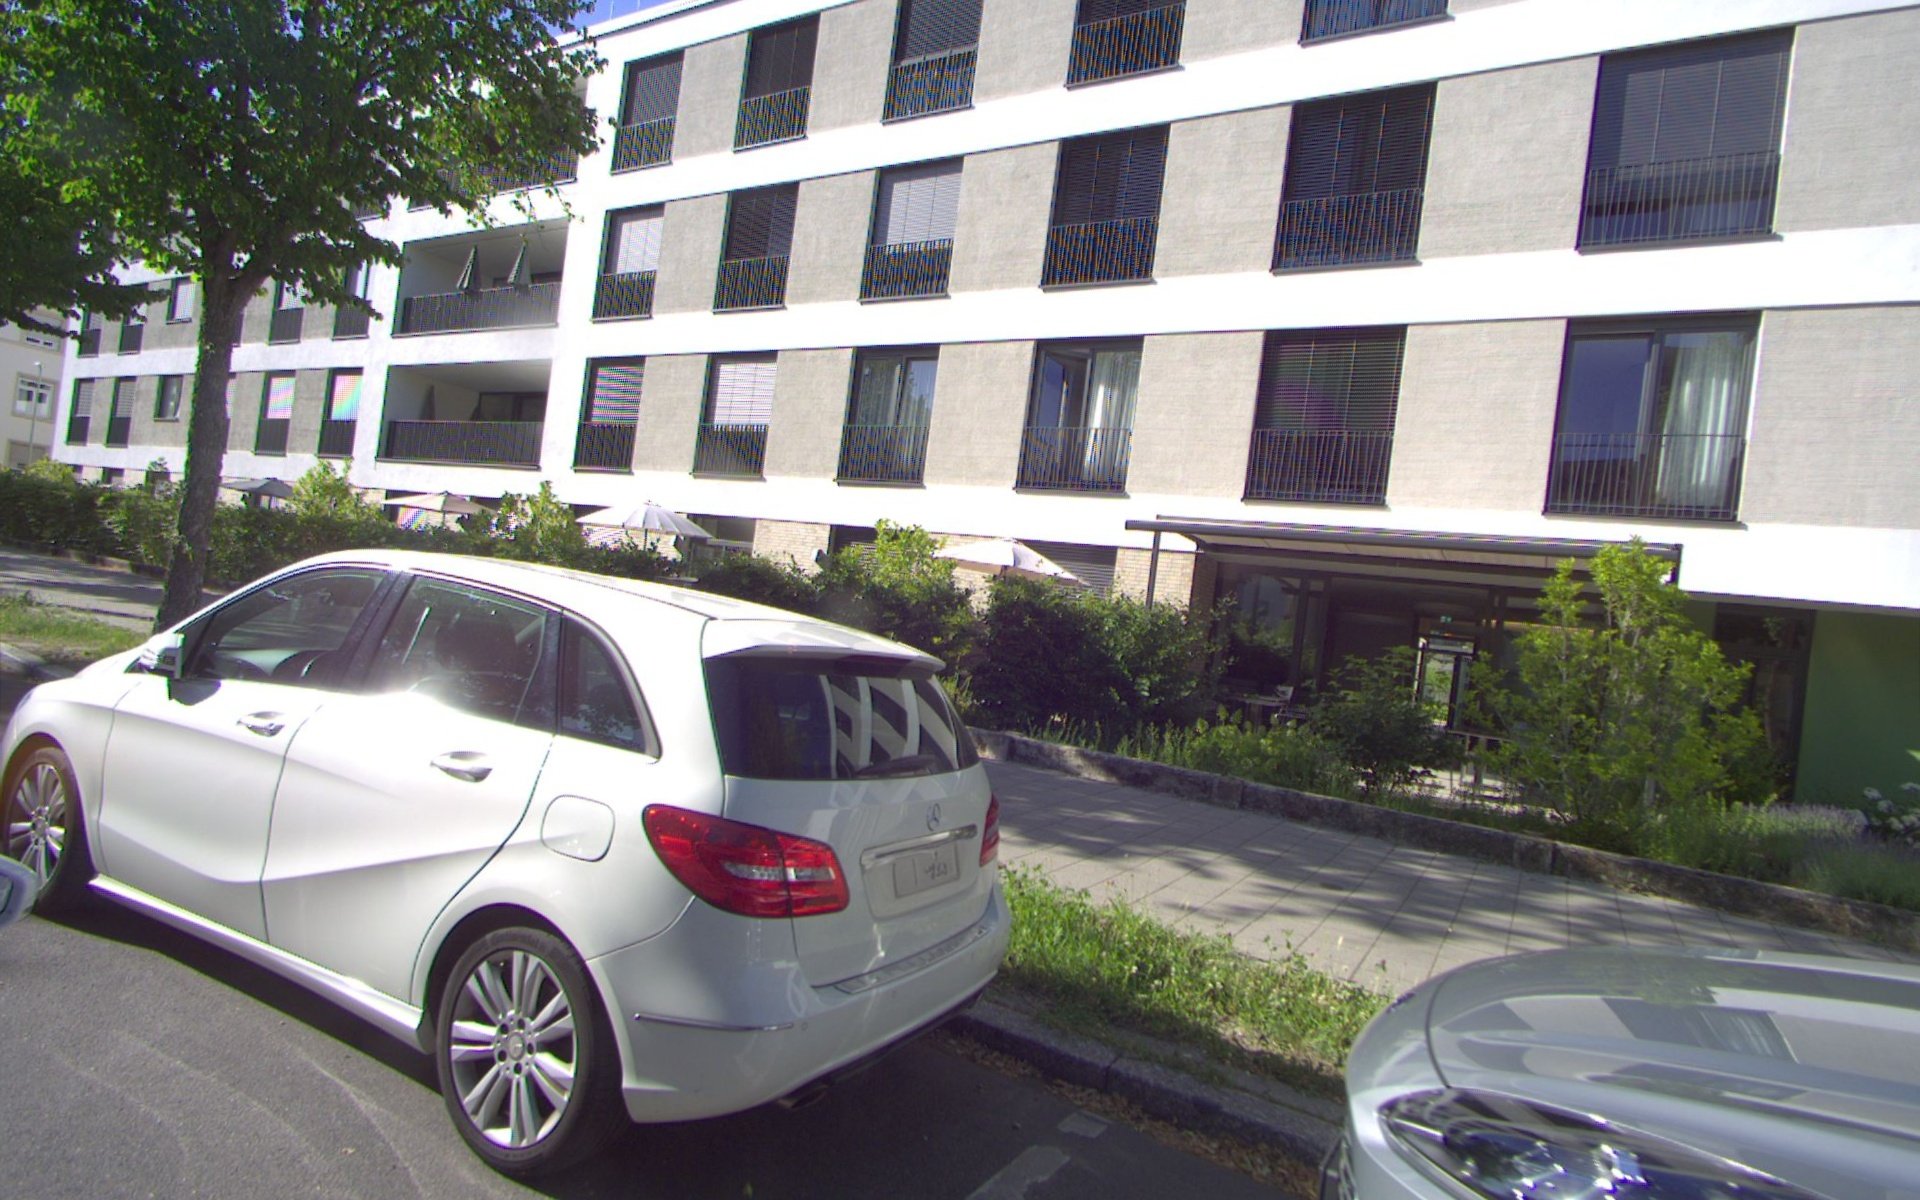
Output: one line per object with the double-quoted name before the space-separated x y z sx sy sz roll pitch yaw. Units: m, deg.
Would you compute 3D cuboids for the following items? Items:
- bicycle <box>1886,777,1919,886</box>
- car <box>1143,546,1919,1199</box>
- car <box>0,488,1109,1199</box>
"bicycle" 9.090 2.125 8.590 1.583 0.905 0.564 7 -1 32
"car" 2.753 1.080 0.883 4.783 1.666 1.900 7 -2 34
"car" -1.975 0.590 3.946 4.605 1.535 1.786 7 -2 27
